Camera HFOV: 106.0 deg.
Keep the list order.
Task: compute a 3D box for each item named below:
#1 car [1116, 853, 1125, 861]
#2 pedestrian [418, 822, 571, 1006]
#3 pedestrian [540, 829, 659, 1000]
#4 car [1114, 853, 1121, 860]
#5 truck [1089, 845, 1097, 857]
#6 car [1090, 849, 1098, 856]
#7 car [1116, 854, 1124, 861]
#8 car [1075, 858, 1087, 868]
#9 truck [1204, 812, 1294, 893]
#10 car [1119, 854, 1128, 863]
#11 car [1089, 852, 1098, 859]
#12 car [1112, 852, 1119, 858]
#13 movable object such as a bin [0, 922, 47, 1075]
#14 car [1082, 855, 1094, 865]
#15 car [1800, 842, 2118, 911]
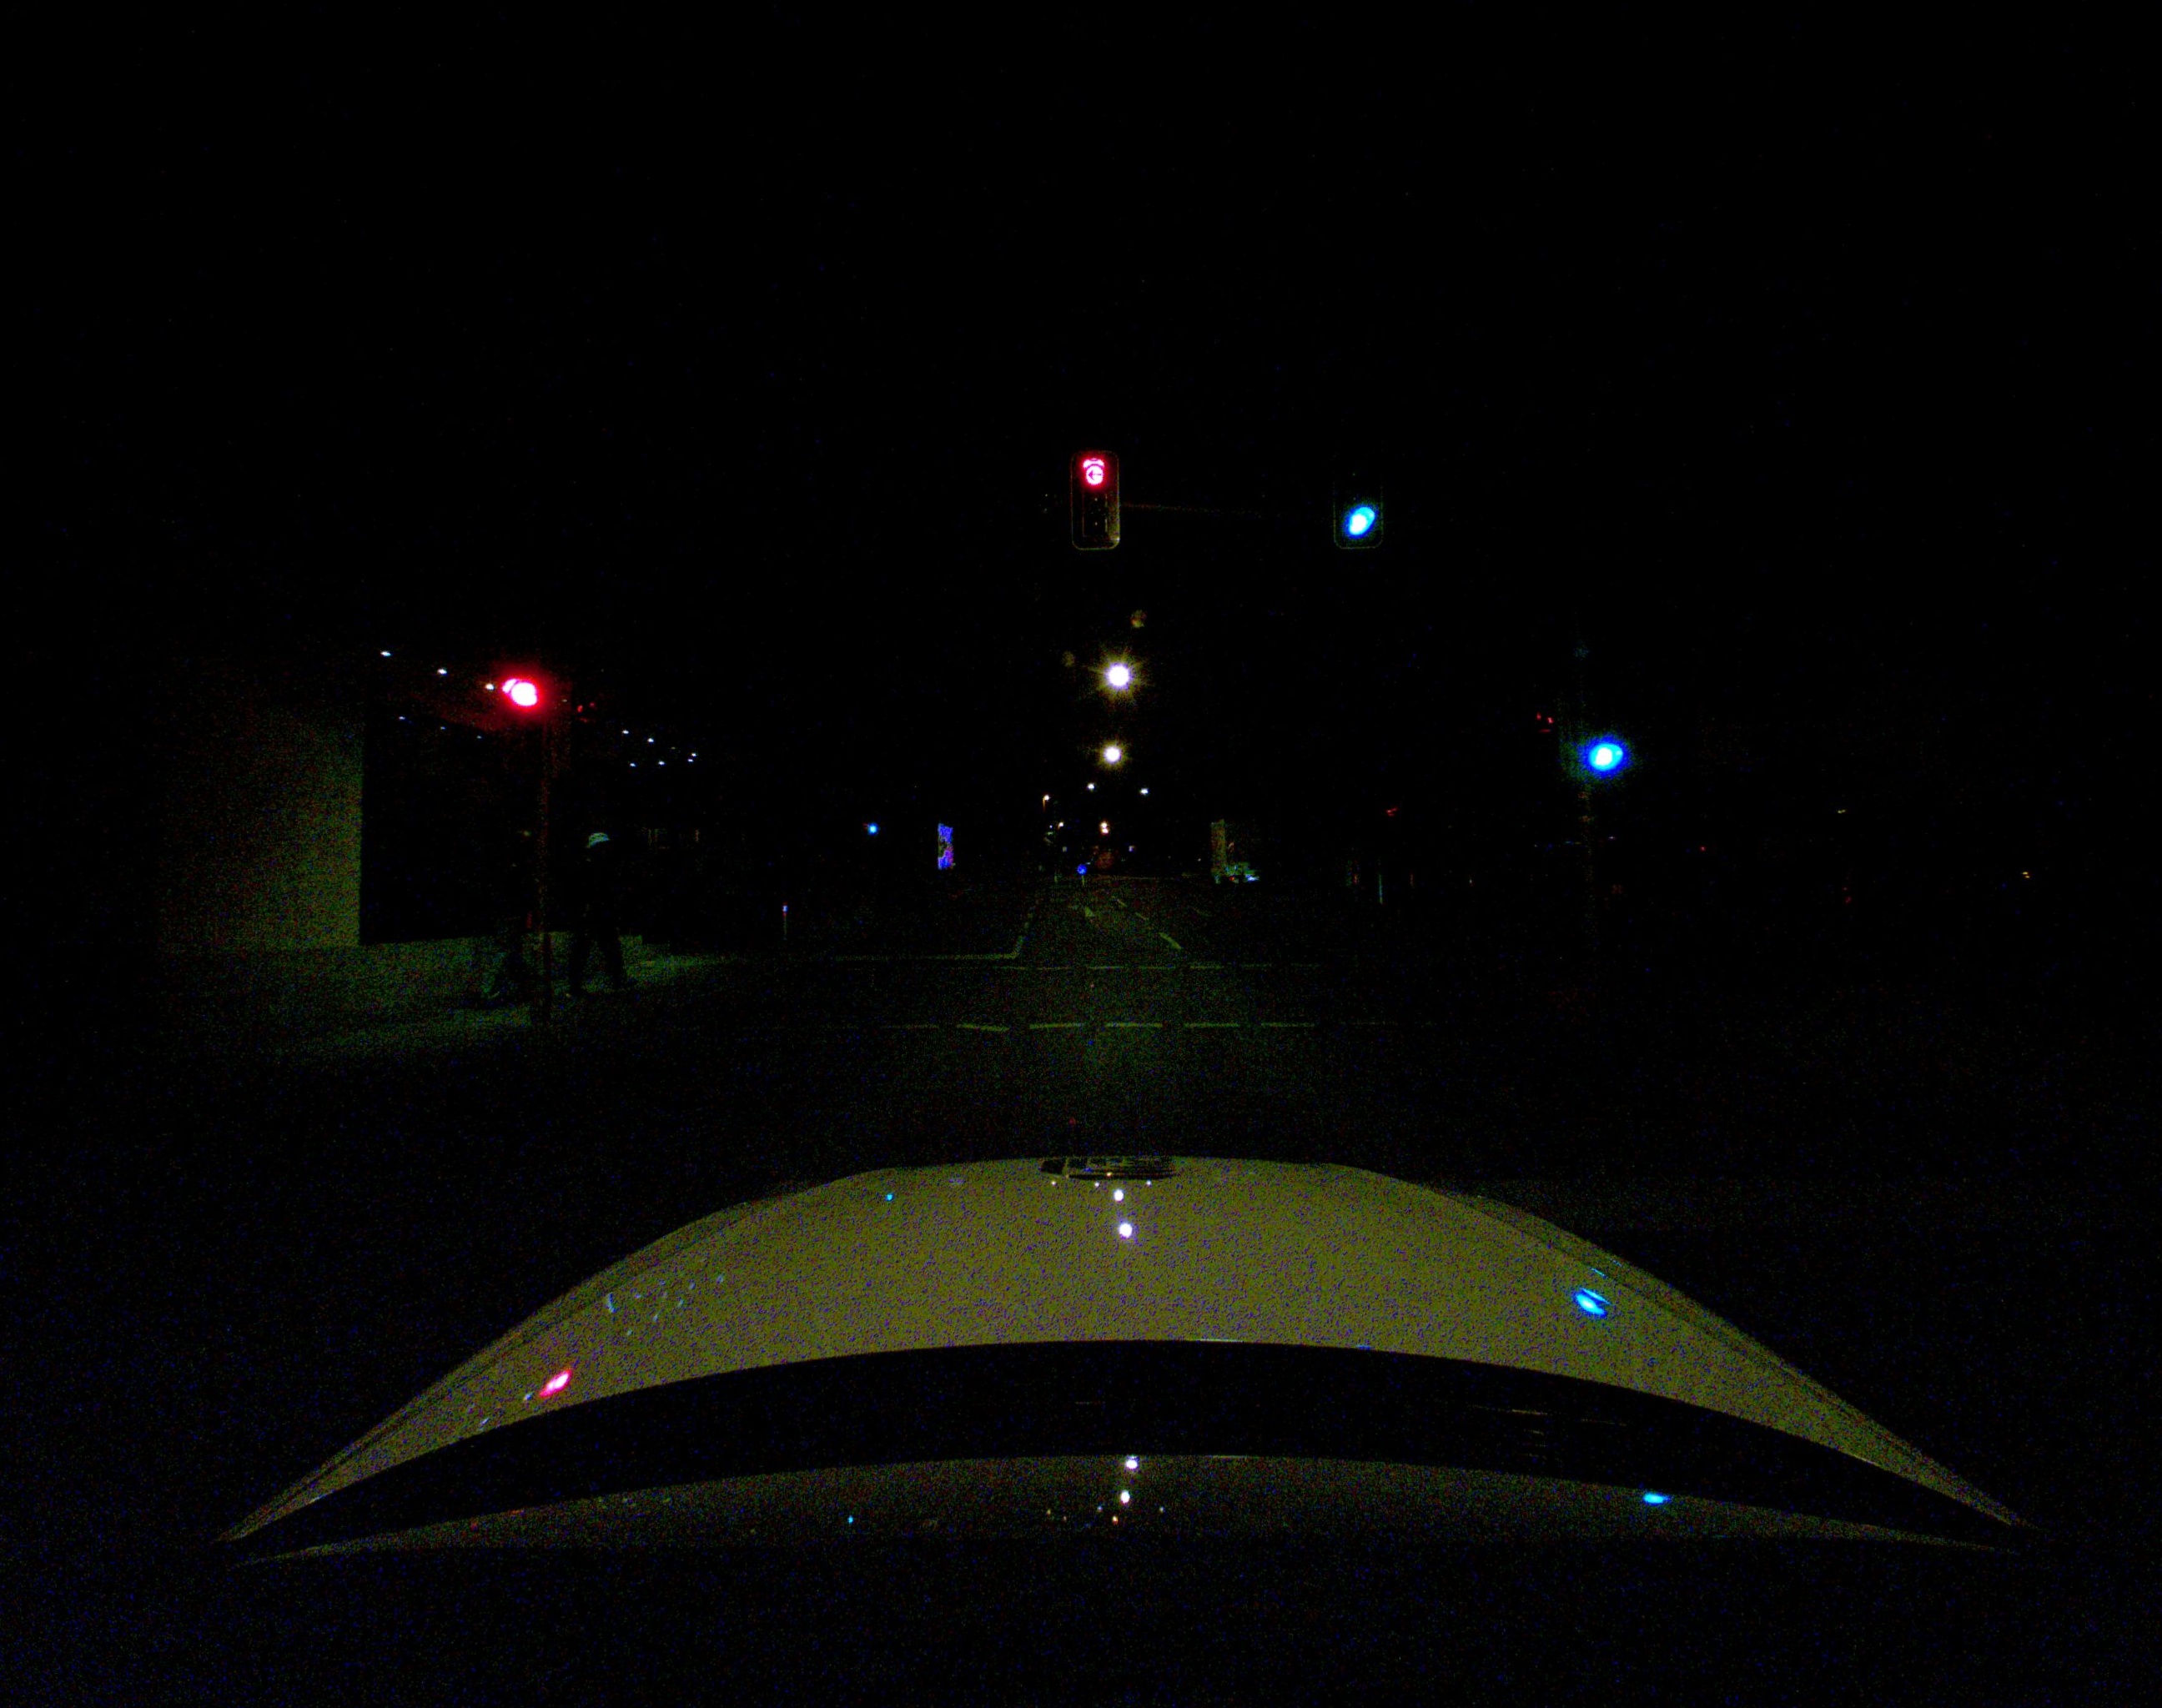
[{"bbox_3d":[7.473,0.636,153.150,1.628,1.452,3.486,0,0,2],"label":"car"},{"bbox_3d":[-5.941,0.578,8.323,0.739,1.745,1.103,-1,-1,0],"label":"pedestrian"},{"bbox_3d":[-5.208,0.629,8.869,0.673,1.745,1.029,-1,-1,0],"label":"pedestrian"},{"bbox_3d":[7.981,0.512,178.584,1.628,1.452,3.486,0,0,2],"label":"car"},{"bbox_3d":[3.144,-0.730,209.815,2.079,2.848,5.831,0,0,0],"label":"truck"},{"bbox_3d":[3.001,-0.341,187.163,1.809,1.491,4.000,0,0,0],"label":"car"},{"bbox_3d":[7.610,0.697,159.336,1.628,1.452,3.486,0,0,2],"label":"car"},{"bbox_3d":[0.067,1.329,118.421,1.628,1.452,3.486,0,0,2],"label":"car"},{"bbox_3d":[6.963,-0.040,34.598,2.738,3.110,6.262,0,0,2],"label":"truck"},{"bbox_3d":[7.488,0.812,143.406,1.628,1.452,3.486,0,0,2],"label":"car"},{"bbox_3d":[2.435,0.301,160.760,1.809,1.491,4.000,0,0,0],"label":"car"},{"bbox_3d":[8.189,0.318,191.561,1.628,1.452,3.486,0,0,2],"label":"car"},{"bbox_3d":[-7.927,1.031,5.710,0.633,1.049,0.657,-1,-1,19],"label":"movable object such as a bin"},{"bbox_3d":[1.198,0.997,134.634,1.808,1.684,4.002,0,0,2],"label":"car"},{"bbox_3d":[17.322,0.447,16.278,4.107,1.280,1.770,-1,-1,9],"label":"car"}]
